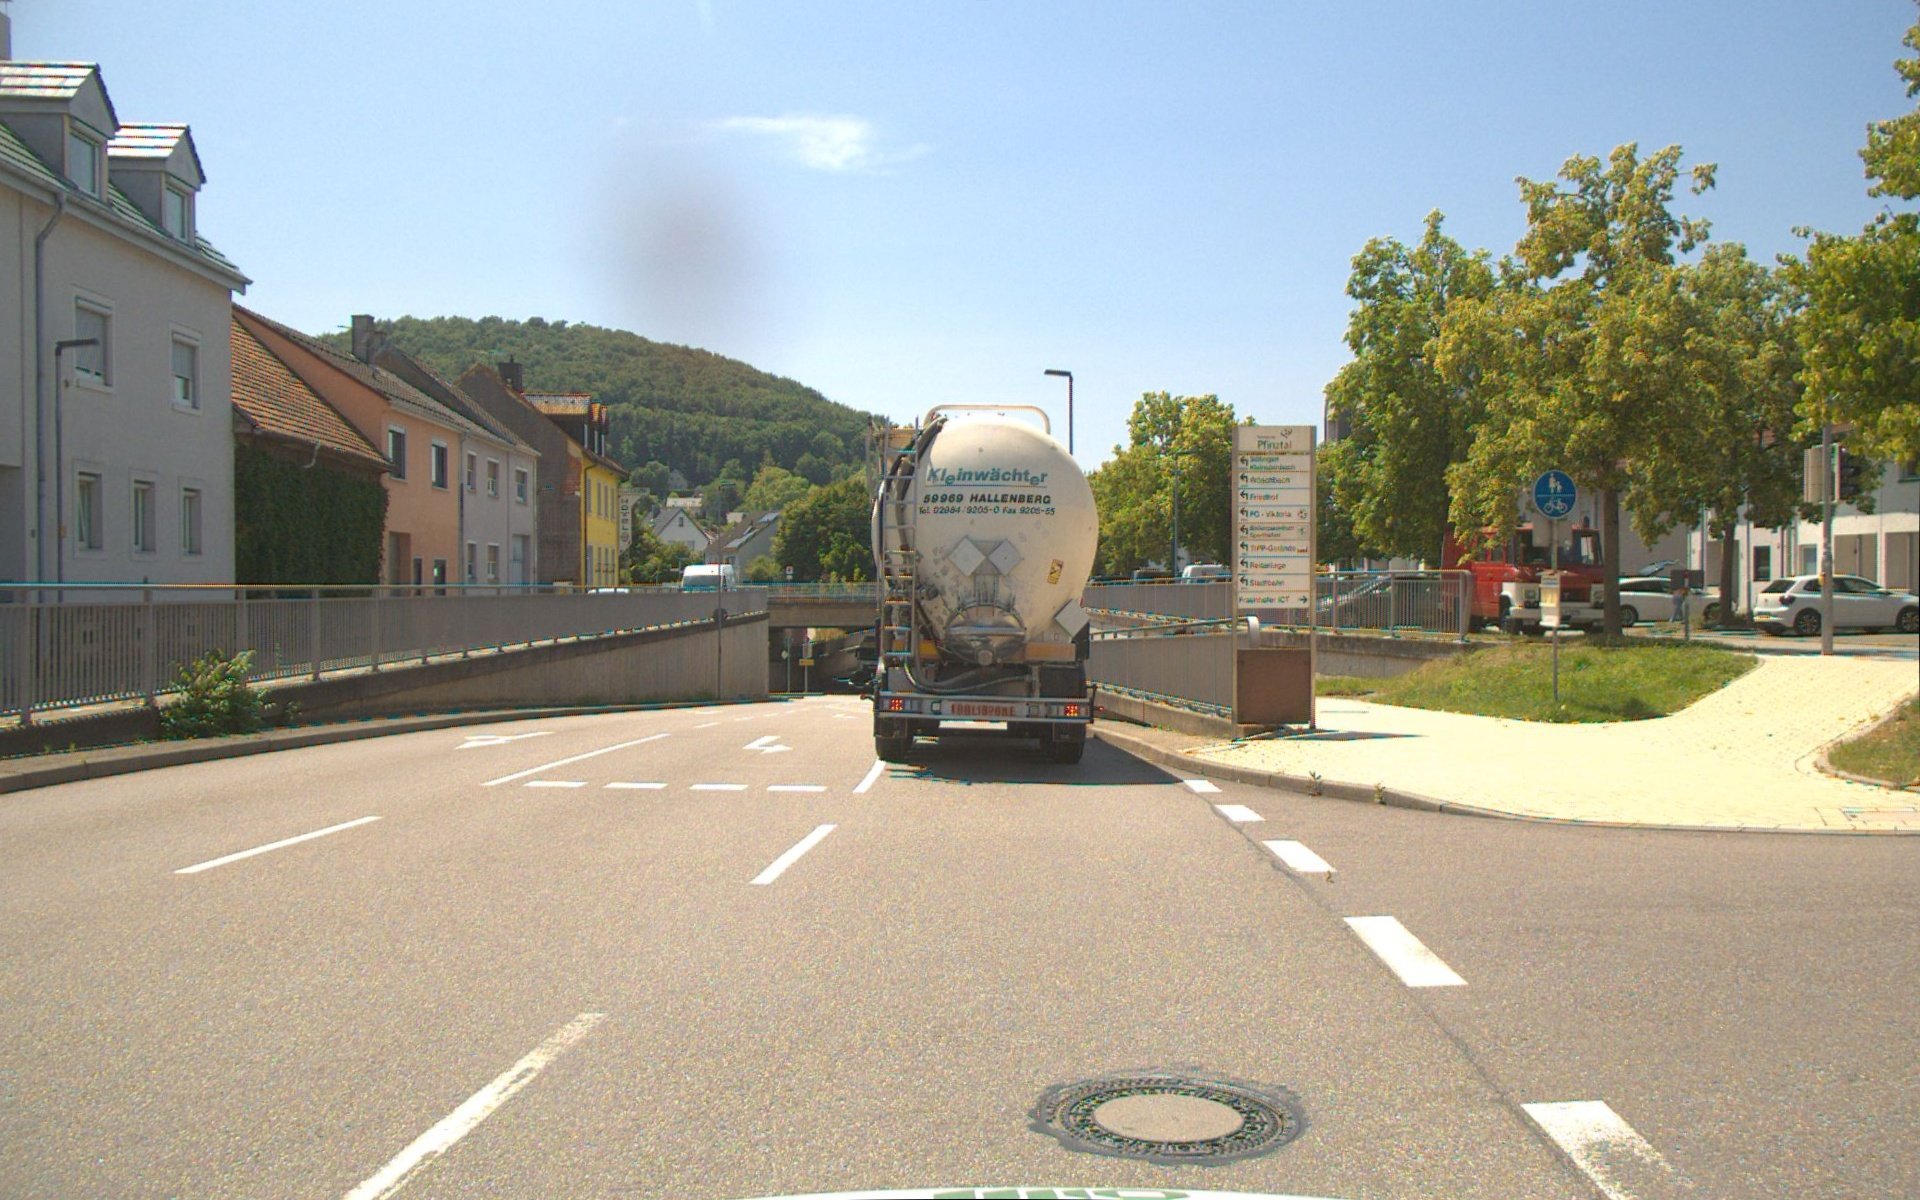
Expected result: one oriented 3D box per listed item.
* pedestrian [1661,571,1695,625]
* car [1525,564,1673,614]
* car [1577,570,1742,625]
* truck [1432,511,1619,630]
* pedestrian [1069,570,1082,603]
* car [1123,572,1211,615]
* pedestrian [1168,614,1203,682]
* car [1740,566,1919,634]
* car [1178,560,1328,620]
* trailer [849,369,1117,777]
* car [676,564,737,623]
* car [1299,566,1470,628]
[{"bbox_3d":[20.907,-0.052,48.144,0.735,1.537,0.605,-3,0,-41],"label":"pedestrian"},{"bbox_3d":[21.656,-0.366,56.124,4.316,1.516,1.757,-2,0,-1],"label":"car"},{"bbox_3d":[21.568,-0.071,51.088,4.316,1.516,1.757,-2,0,-1],"label":"car"},{"bbox_3d":[12.048,-0.585,35.672,2.089,2.375,5.258,0,0,-2],"label":"truck"},{"bbox_3d":[6.463,-0.767,92.758,0.659,1.811,0.594,0,-1,0],"label":"pedestrian"},{"bbox_3d":[9.519,-0.310,76.150,3.826,1.918,1.686,0,0,0],"label":"car"},{"bbox_3d":[6.080,1.306,44.633,0.819,1.813,0.788,0,-2,-1],"label":"pedestrian"},{"bbox_3d":[21.607,-0.015,40.788,3.857,1.504,1.757,-2,0,-1],"label":"car"},{"bbox_3d":[10.434,-0.357,59.210,5.008,2.099,1.988,0,0,0],"label":"car"},{"bbox_3d":[0.309,-0.060,23.533,2.679,4.136,13.311,1,-2,1],"label":"trailer"},{"bbox_3d":[-11.607,-0.302,76.208,2.024,2.581,5.659,1,0,-2],"label":"car"},{"bbox_3d":[10.740,-0.072,42.003,3.905,1.525,1.748,0,0,0],"label":"car"}]
